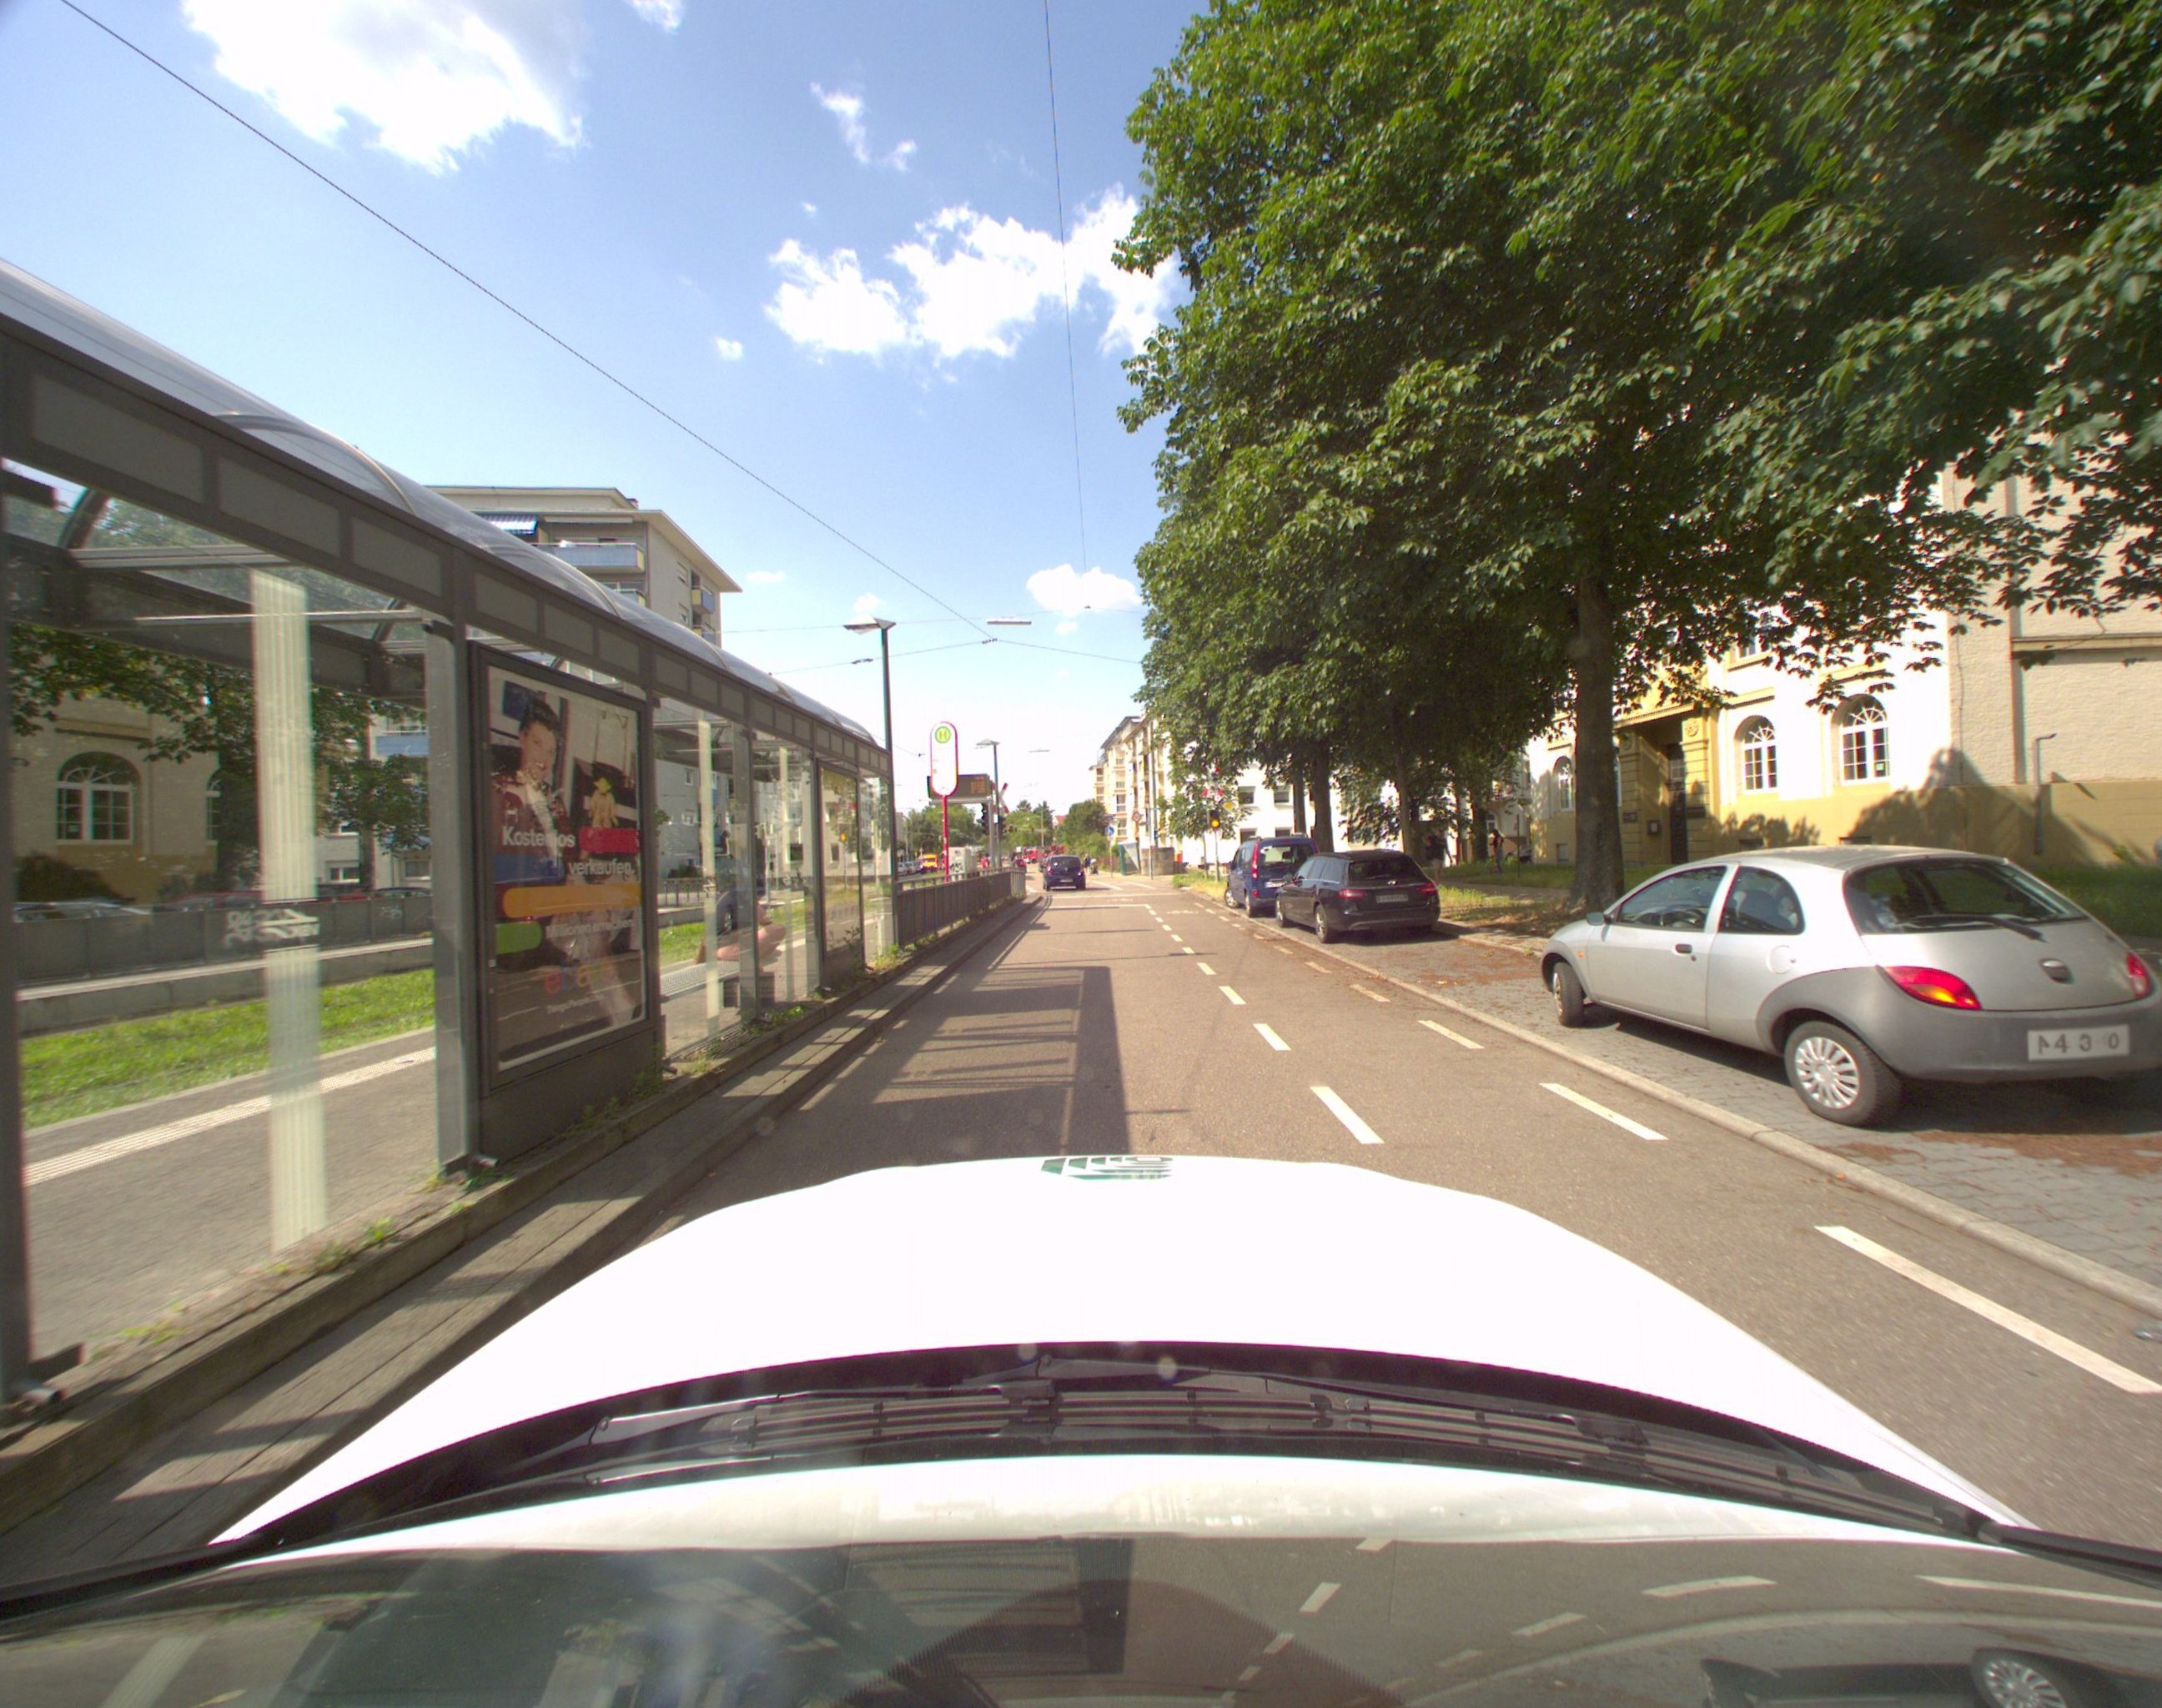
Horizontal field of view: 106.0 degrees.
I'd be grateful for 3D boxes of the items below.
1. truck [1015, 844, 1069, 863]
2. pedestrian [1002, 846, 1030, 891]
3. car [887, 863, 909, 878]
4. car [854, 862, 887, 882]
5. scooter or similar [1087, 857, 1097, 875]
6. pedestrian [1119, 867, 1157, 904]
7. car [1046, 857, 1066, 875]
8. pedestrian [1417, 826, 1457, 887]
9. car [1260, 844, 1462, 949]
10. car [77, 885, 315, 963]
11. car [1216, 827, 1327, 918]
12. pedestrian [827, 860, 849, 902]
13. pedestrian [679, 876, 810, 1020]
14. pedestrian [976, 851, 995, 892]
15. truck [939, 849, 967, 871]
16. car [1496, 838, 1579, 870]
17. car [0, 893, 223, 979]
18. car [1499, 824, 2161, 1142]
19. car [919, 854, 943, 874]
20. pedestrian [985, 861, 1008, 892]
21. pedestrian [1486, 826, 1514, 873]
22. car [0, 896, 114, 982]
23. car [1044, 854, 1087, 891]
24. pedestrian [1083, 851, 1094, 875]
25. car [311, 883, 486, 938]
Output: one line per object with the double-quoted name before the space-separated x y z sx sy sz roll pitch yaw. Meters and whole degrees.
"truck" -7.243 -0.021 153.851 10.201 3.471 2.649 0 -1 -31
"pedestrian" -2.505 0.553 31.226 0.848 1.667 0.793 -2 -1 -20
"car" -19.250 1.721 85.766 1.765 1.442 3.993 0 -1 -5
"car" -18.023 1.539 69.826 1.989 1.645 3.995 0 -1 -3
"scooter or similar" 0.814 0.921 61.759 0.660 1.303 0.868 -5 0 -1
"pedestrian" 3.227 1.790 46.950 1.986 2.014 4.001 0 -1 1
"car" -2.206 1.038 70.078 1.619 1.465 3.506 0 -1 -3
"pedestrian" 10.152 0.066 23.222 0.741 1.696 0.767 -3 0 1
"car" 4.771 0.626 14.747 1.911 1.442 4.795 -5 0 0
"car" -22.024 1.689 20.478 3.678 1.579 1.633 -2 0 -30
"car" 4.563 0.393 20.107 1.815 1.896 4.186 -3 0 2
"pedestrian" -9.924 1.093 33.237 0.658 1.664 0.632 -2 0 0
"pedestrian" -2.806 0.747 6.809 0.655 1.072 0.728 -2 1 35
"pedestrian" -3.836 0.718 32.888 0.704 1.648 0.636 0 -1 -3
"truck" -19.931 0.879 127.473 2.586 3.185 8.385 -3 0 2
"car" 22.559 0.012 40.440 1.734 1.459 3.997 -2 0 -2
"car" -21.892 1.770 17.995 3.678 1.579 1.633 -2 0 -30
"car" 4.678 0.630 5.744 1.585 1.445 3.598 -4 0 1
"car" -16.921 1.110 92.165 1.989 2.275 4.828 0 0 -3
"pedestrian" -3.318 0.878 31.968 0.639 1.180 0.793 -2 -1 -22
"pedestrian" 14.484 -0.145 28.163 0.629 1.596 0.539 -2 -1 -2
"car" -21.695 1.699 15.392 4.040 1.514 1.594 -2 0 -29
"car" -0.682 0.766 35.521 1.739 1.507 3.997 0 -1 -2
"pedestrian" 0.558 0.710 62.651 0.699 1.789 1.030 -5 0 1
"car" -21.723 1.752 26.132 4.154 1.394 1.591 -2 0 -38
